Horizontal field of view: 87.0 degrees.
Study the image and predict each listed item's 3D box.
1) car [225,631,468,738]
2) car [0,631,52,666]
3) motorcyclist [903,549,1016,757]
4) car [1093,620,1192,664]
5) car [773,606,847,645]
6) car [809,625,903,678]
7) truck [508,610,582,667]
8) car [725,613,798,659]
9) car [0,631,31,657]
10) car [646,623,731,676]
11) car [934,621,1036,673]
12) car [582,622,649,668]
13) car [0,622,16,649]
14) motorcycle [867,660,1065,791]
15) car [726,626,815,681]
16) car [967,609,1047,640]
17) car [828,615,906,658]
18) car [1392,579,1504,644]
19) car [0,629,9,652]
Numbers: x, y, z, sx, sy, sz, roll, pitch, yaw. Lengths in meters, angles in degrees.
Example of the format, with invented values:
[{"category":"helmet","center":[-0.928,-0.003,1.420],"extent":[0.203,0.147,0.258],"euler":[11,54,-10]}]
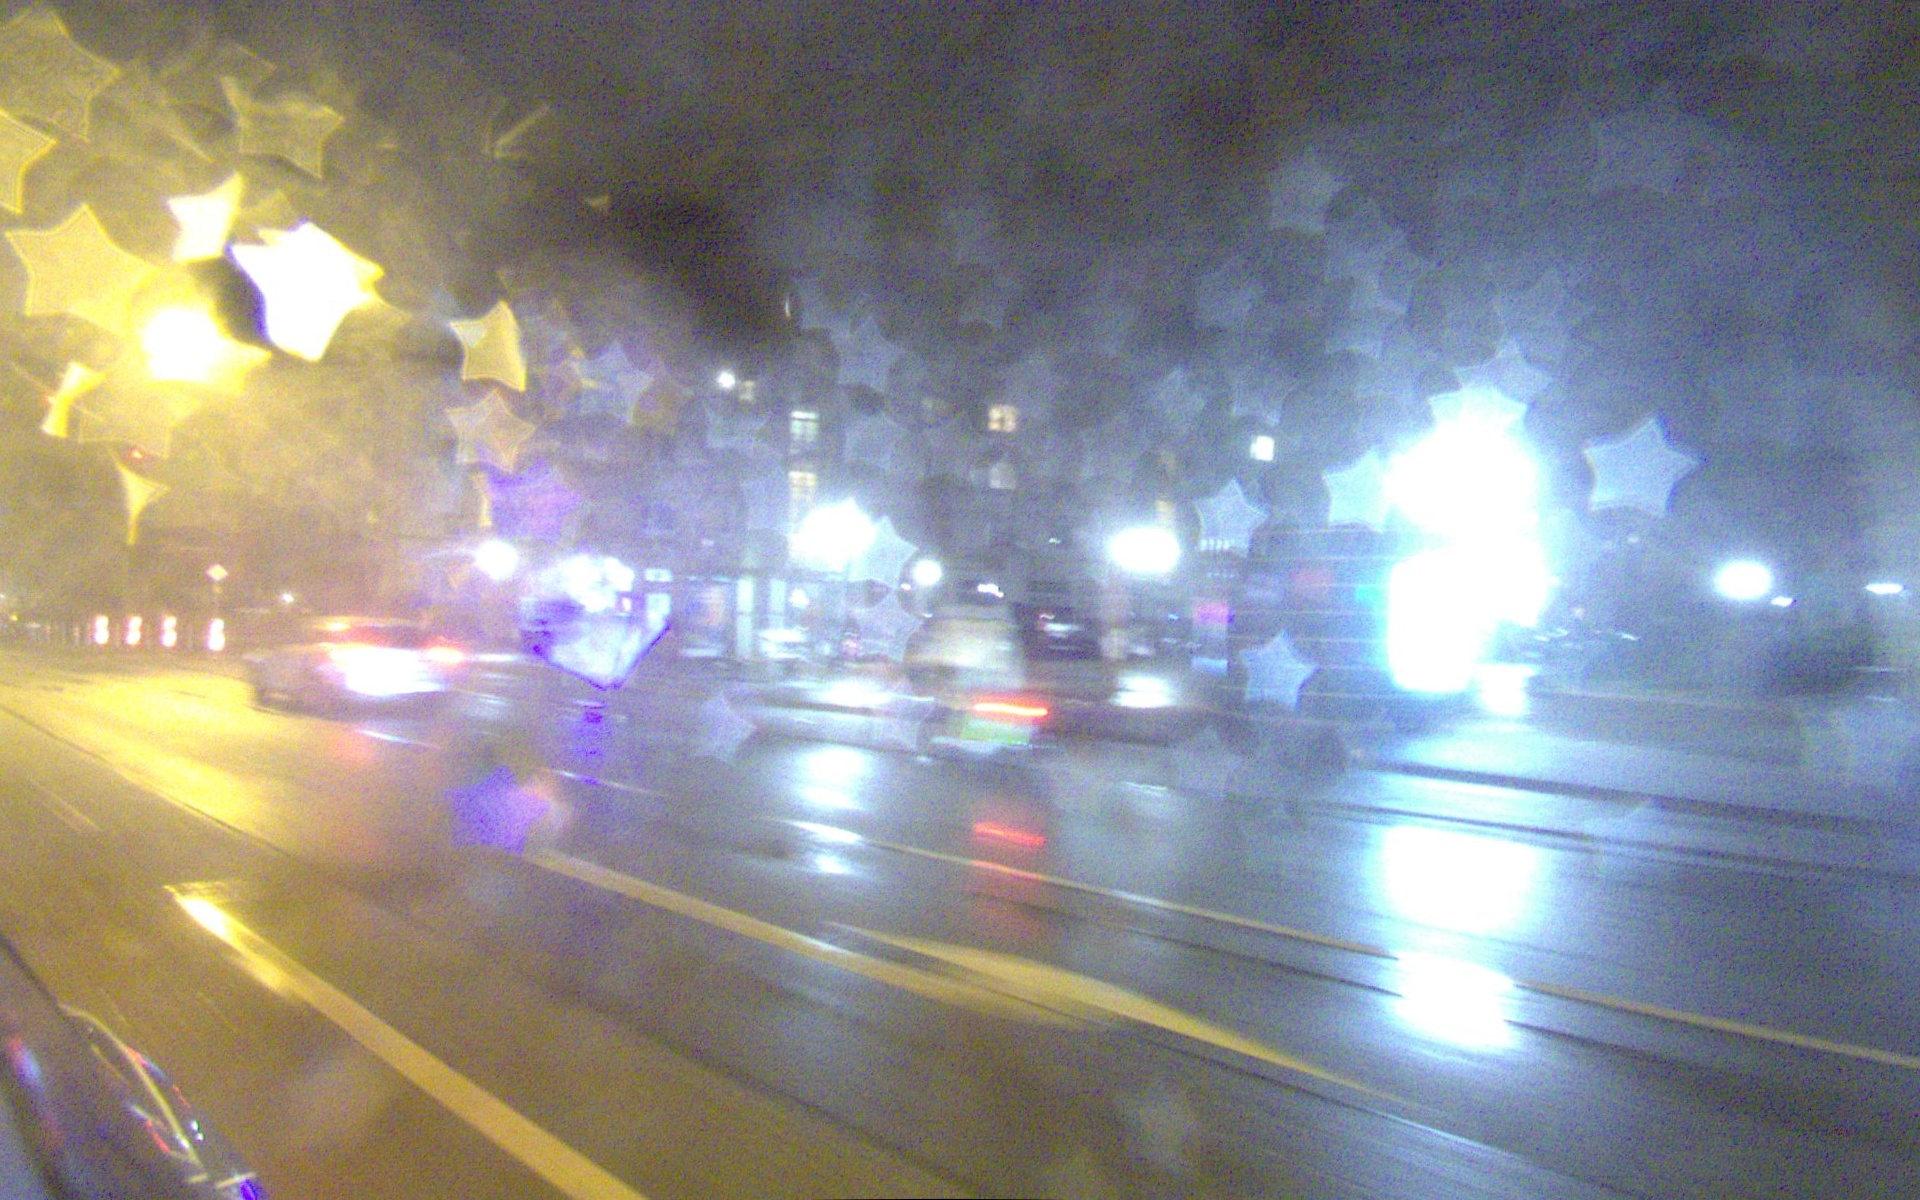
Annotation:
[{"category":"car","center":[-10.167,1.277,16.634],"extent":[4.762,1.511,1.835],"euler":[-1,-2,38]},{"category":"car","center":[-45.175,2.324,48.931],"extent":[4.381,1.576,1.580],"euler":[-1,-4,45]},{"category":"motorcyclist","center":[-0.011,0.531,10.482],"extent":[0.685,2.029,0.983],"euler":[1,-2,-45]},{"category":"car","center":[6.849,1.538,38.372],"extent":[1.689,1.532,3.931],"euler":[0,-1,-27]},{"category":"car","center":[-6.637,1.091,44.432],"extent":[1.838,1.625,4.508],"euler":[0,-1,-28]},{"category":"car","center":[-3.390,1.581,32.363],"extent":[1.689,1.532,3.931],"euler":[0,-1,-27]},{"category":"truck","center":[-15.961,1.422,38.801],"extent":[2.093,2.029,5.278],"euler":[0,-2,-28]},{"category":"car","center":[-8.463,1.460,42.844],"extent":[1.838,1.808,4.508],"euler":[0,-1,-28]},{"category":"car","center":[-52.922,2.426,56.296],"extent":[4.069,1.384,1.580],"euler":[-2,-2,45]},{"category":"car","center":[-8.209,1.430,30.348],"extent":[1.689,1.442,3.931],"euler":[0,-1,-27]},{"category":"car","center":[0.748,1.490,33.075],"extent":[1.689,1.532,3.931],"euler":[0,-1,-27]},{"category":"car","center":[-13.634,1.723,39.865],"extent":[1.838,1.625,4.508],"euler":[0,-1,-28]},{"category":"car","center":[-60.682,2.171,63.689],"extent":[4.260,1.617,1.580],"euler":[-1,-4,45]},{"category":"motorcycle","center":[0.014,1.232,10.446],"extent":[2.176,1.147,0.693],"euler":[-1,-2,44]},{"category":"car","center":[-5.932,1.590,31.384],"extent":[1.689,1.532,3.931],"euler":[0,-1,-27]},{"category":"car","center":[2.210,1.159,48.940],"extent":[1.838,1.454,4.508],"euler":[0,-1,-28]},{"category":"car","center":[-4.196,1.566,45.025],"extent":[1.838,1.773,4.508],"euler":[0,-1,-28]},{"category":"car","center":[21.768,0.510,45.355],"extent":[1.689,2.752,4.369],"euler":[0,-1,-27]},{"category":"car","center":[-70.763,2.799,73.802],"extent":[3.373,1.629,1.460],"euler":[-1,-17,42]}]
